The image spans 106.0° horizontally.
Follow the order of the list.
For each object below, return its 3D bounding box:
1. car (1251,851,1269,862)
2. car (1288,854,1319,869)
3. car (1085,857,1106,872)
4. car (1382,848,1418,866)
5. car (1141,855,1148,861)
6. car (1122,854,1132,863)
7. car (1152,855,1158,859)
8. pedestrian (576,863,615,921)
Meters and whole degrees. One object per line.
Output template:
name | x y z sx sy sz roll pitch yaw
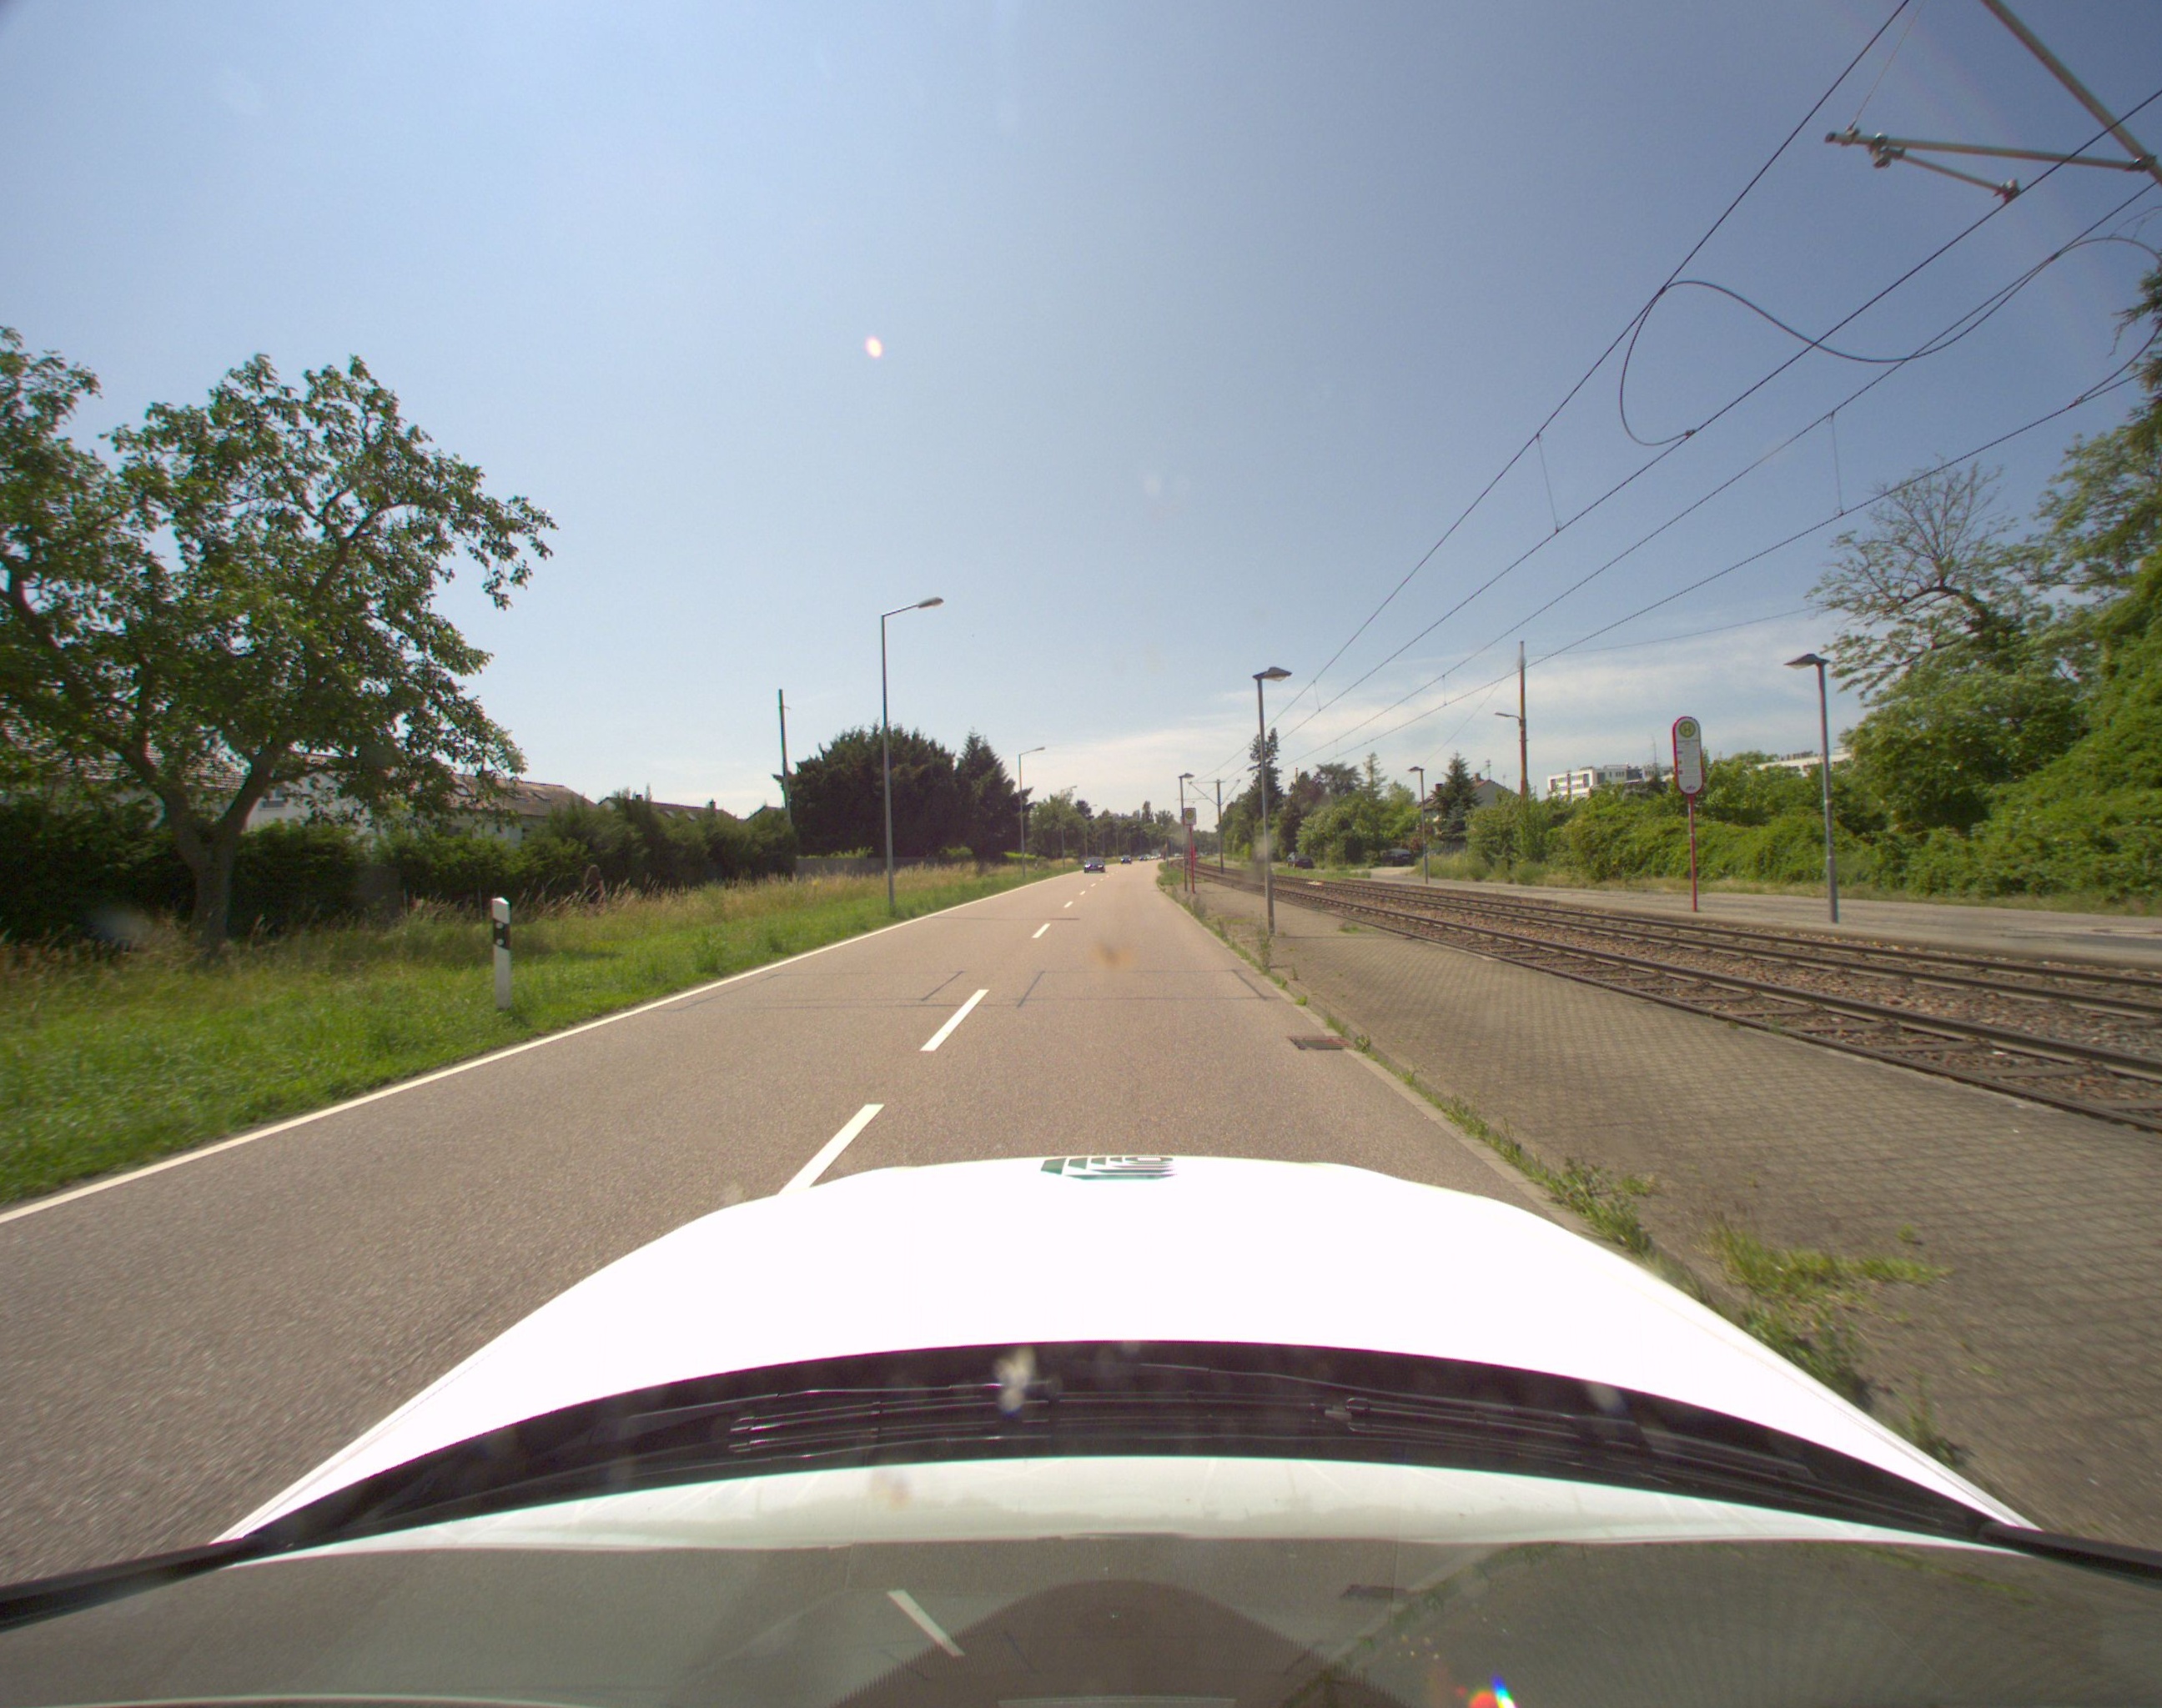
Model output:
car | 24.193 0.386 110.178 1.905 1.470 4.006 -1 0 5
car | 20.921 0.664 76.726 1.853 1.330 4.518 -1 0 3
car | 1.402 0.985 77.769 1.699 1.404 4.712 -1 0 4
car | 26.441 0.284 67.658 1.713 1.419 3.742 -1 0 3
car | 15.738 0.922 202.817 1.692 1.491 4.447 -1 0 5
car | 8.276 0.804 146.830 1.739 1.632 4.035 -1 0 5
car | 21.766 0.857 238.369 1.674 1.249 3.915 -1 0 6
pedestrian | -12.583 0.973 21.108 0.606 1.477 0.634 -1 -1 3
